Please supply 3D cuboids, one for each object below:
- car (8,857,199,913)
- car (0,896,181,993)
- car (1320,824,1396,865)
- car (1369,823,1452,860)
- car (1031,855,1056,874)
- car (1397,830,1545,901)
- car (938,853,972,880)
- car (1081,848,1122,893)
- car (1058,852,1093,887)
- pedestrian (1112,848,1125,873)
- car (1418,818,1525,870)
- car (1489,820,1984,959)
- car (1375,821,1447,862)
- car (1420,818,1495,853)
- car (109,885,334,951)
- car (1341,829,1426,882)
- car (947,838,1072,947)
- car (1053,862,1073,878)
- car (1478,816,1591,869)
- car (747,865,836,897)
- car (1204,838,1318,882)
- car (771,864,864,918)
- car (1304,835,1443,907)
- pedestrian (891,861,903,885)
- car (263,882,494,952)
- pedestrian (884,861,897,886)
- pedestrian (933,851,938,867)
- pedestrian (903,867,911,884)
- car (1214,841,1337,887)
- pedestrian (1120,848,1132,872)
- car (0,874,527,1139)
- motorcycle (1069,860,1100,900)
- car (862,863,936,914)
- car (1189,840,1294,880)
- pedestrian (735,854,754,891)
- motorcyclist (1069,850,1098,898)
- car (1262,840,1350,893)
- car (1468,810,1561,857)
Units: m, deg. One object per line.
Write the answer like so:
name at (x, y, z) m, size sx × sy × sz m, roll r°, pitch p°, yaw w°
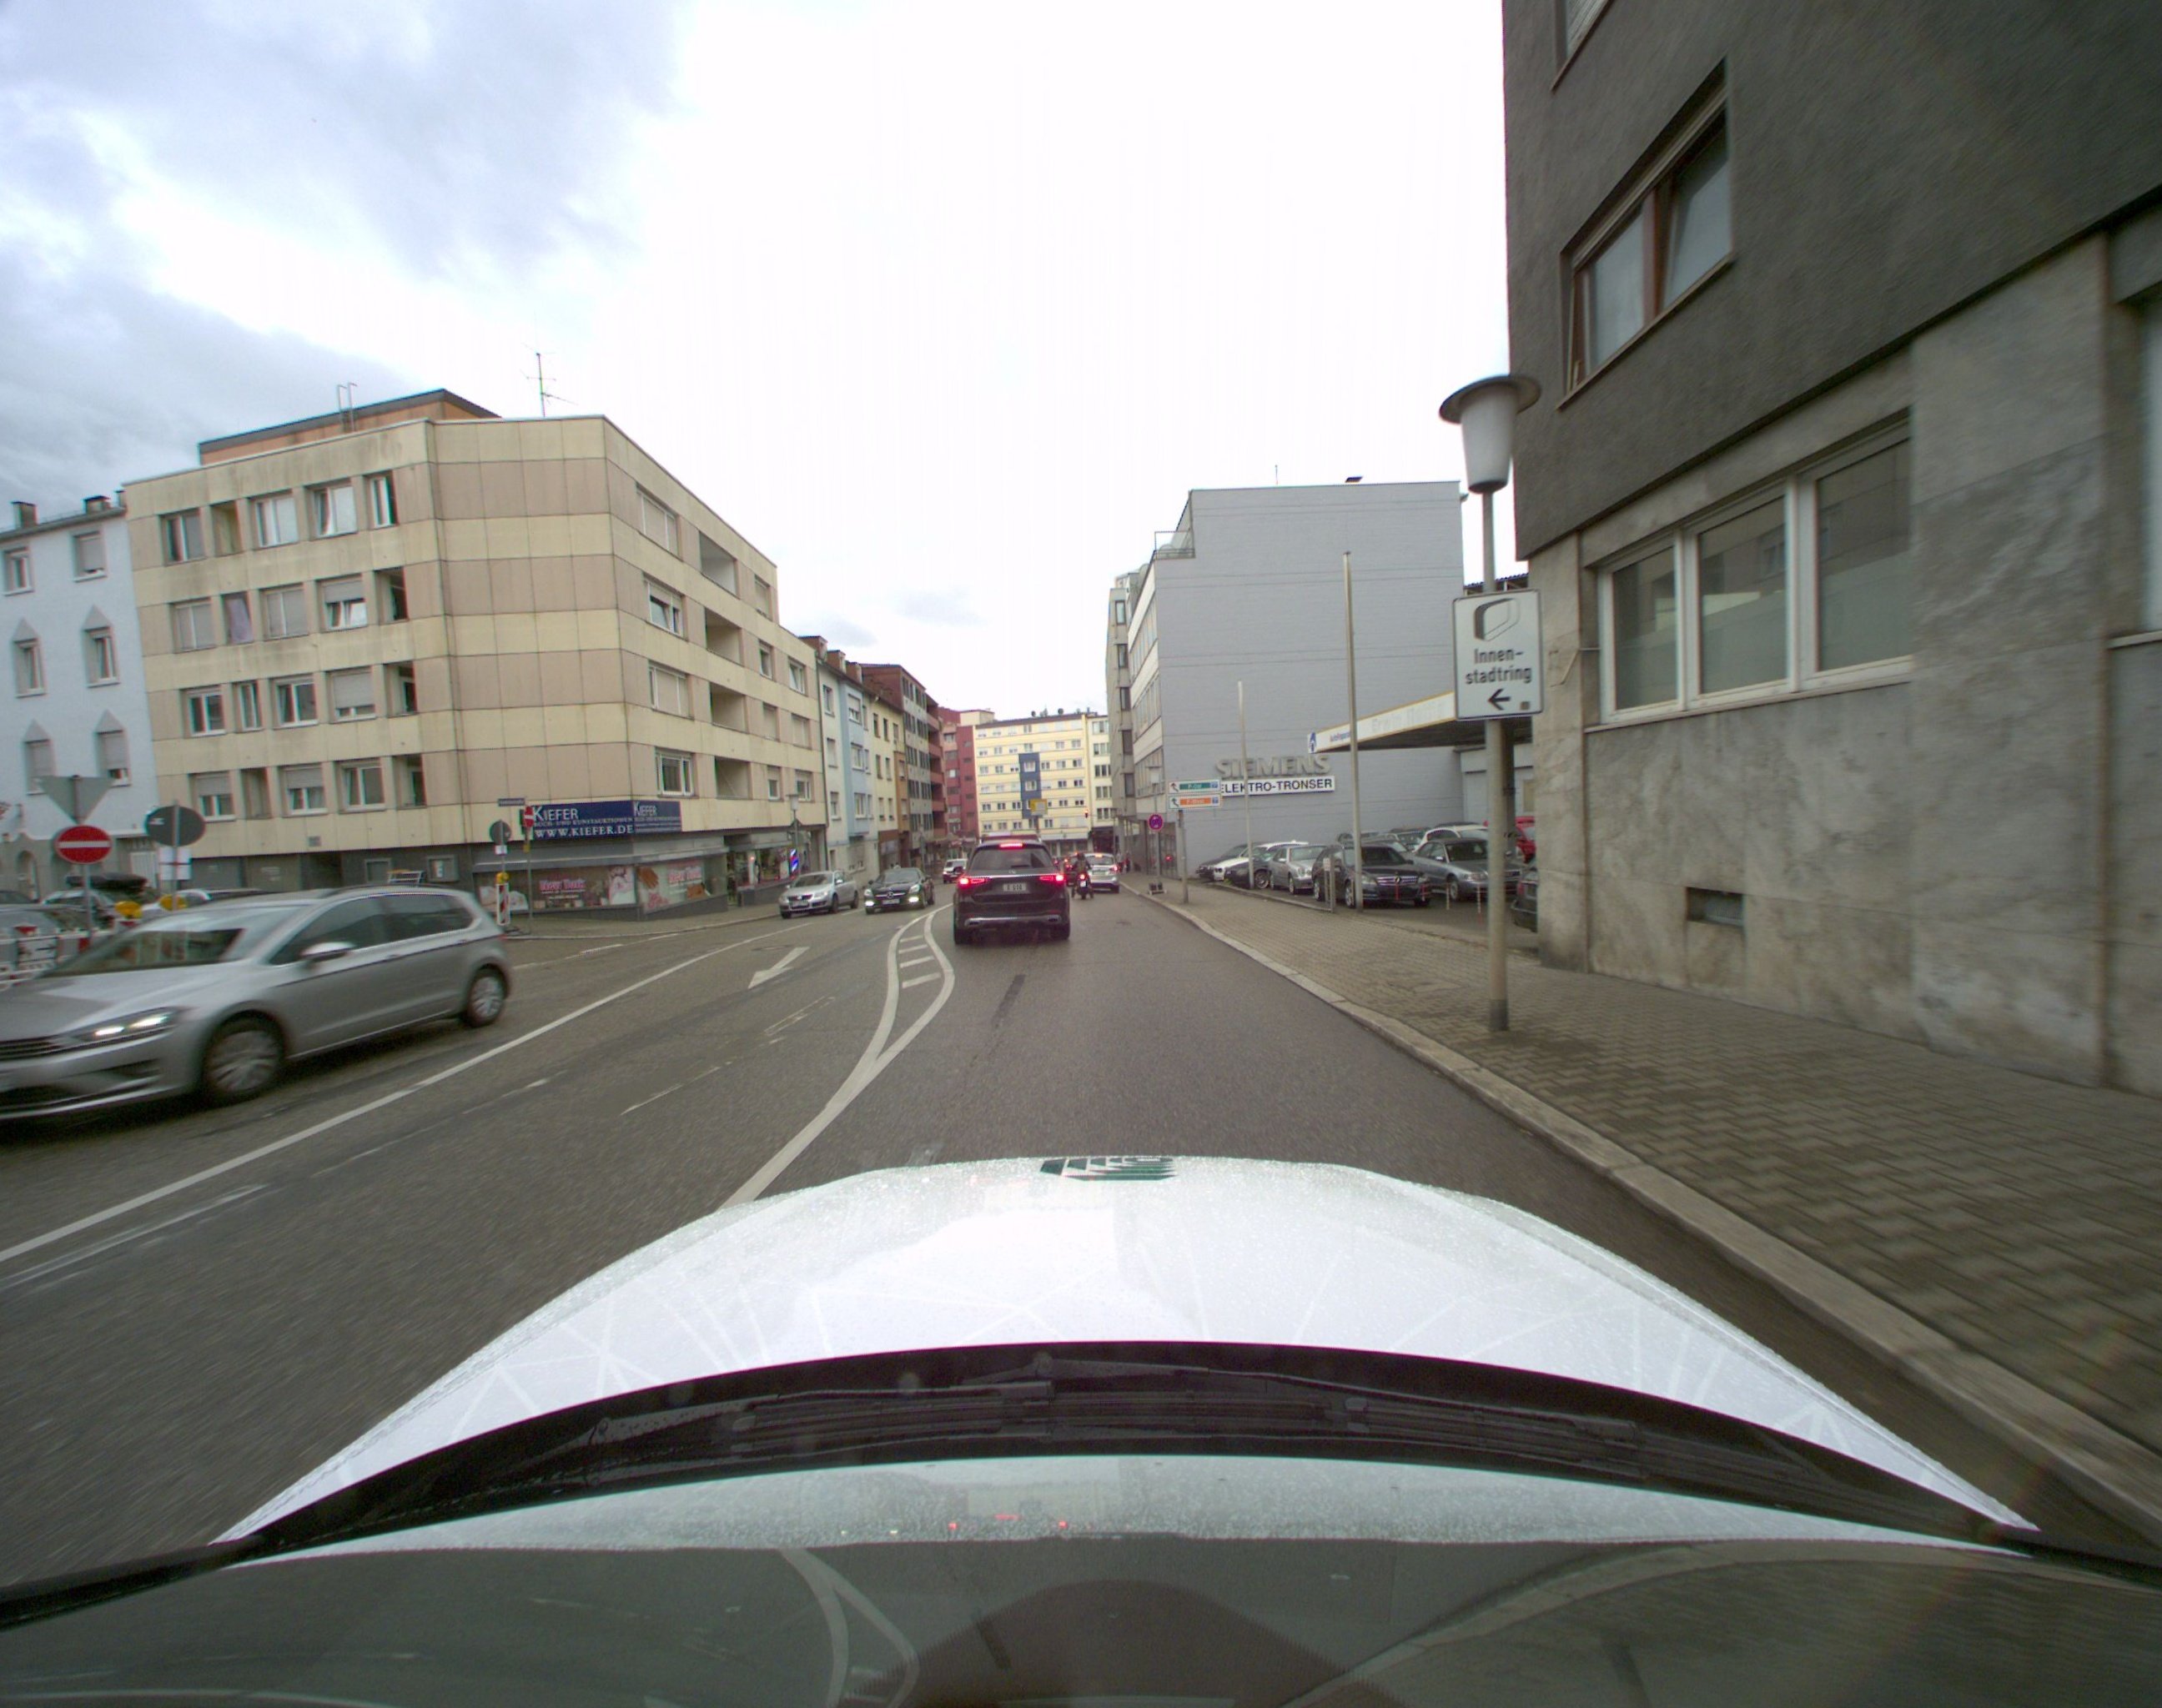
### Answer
car at (-28.628, 0.894, 23.893) m, size 4.301 × 1.512 × 1.906 m, roll -1°, pitch 0°, yaw 15°
car at (-19.805, 1.672, 15.511) m, size 3.959 × 1.511 × 1.735 m, roll -1°, pitch 3°, yaw 13°
car at (11.864, -0.384, 35.166) m, size 1.642 × 1.597 × 3.859 m, roll -1°, pitch -1°, yaw -6°
car at (12.191, -0.421, 30.303) m, size 1.448 × 1.202 × 3.385 m, roll -1°, pitch -1°, yaw -6°
car at (-3.196, 0.910, 70.080) m, size 1.879 × 1.502 × 4.399 m, roll -1°, pitch 0°, yaw 0°
car at (9.393, 0.240, 20.052) m, size 1.788 × 1.477 × 4.491 m, roll -2°, pitch 0°, yaw 5°
car at (-9.503, 0.918, 61.885) m, size 1.865 × 1.753 × 4.396 m, roll -5°, pitch 0°, yaw -2°
car at (0.789, 0.637, 32.926) m, size 1.412 × 1.651 × 3.104 m, roll -2°, pitch 1°, yaw -3°
car at (-0.297, 0.727, 39.507) m, size 1.519 × 1.548 × 3.104 m, roll -2°, pitch 1°, yaw -3°
pedestrian at (2.560, 0.448, 56.051) m, size 0.767 × 1.611 × 0.703 m, roll -2°, pitch 2°, yaw -4°
car at (12.454, -0.275, 26.231) m, size 1.549 × 1.512 × 3.515 m, roll -1°, pitch -1°, yaw -4°
car at (7.672, 0.376, 9.932) m, size 4.470 × 1.512 × 1.889 m, roll 0°, pitch 0°, yaw 3°
car at (14.101, -0.480, 34.957) m, size 1.448 × 1.597 × 3.385 m, roll -1°, pitch -1°, yaw -6°
car at (16.235, -0.757, 35.257) m, size 1.449 × 1.354 × 3.347 m, roll -1°, pitch -1°, yaw -6°
car at (-22.119, 1.624, 21.035) m, size 4.306 × 1.512 × 1.903 m, roll -1°, pitch 0°, yaw 10°
car at (9.504, 0.078, 25.836) m, size 1.521 × 1.512 × 3.393 m, roll -1°, pitch -1°, yaw 2°
car at (-1.268, 0.623, 15.691) m, size 2.016 × 1.739 × 4.742 m, roll -1°, pitch 0°, yaw -3°
car at (-1.817, 1.561, 82.317) m, size 1.879 × 1.502 × 4.399 m, roll -1°, pitch 0°, yaw 0°
car at (14.434, -0.316, 26.142) m, size 1.447 × 1.512 × 3.515 m, roll -1°, pitch -1°, yaw -4°
car at (-15.125, 1.390, 42.647) m, size 3.978 × 1.499 × 1.797 m, roll -2°, pitch -1°, yaw -3°
car at (7.013, 0.251, 31.840) m, size 4.000 × 1.597 × 1.787 m, roll -1°, pitch -1°, yaw -20°
car at (-8.934, 1.202, 28.056) m, size 1.740 × 1.539 × 4.638 m, roll -5°, pitch -1°, yaw -2°
car at (6.822, 0.353, 19.534) m, size 1.790 × 1.477 × 4.486 m, roll -1°, pitch 0°, yaw 1°
pedestrian at (-13.158, 1.335, 58.228) m, size 0.670 × 1.652 × 0.605 m, roll -2°, pitch 4°, yaw -4°
car at (-16.946, 1.499, 19.748) m, size 4.306 × 1.512 × 1.903 m, roll -1°, pitch 0°, yaw 10°
pedestrian at (-13.451, 1.381, 57.432) m, size 0.738 × 1.652 × 0.605 m, roll -2°, pitch 4°, yaw -4°
pedestrian at (-14.452, 0.502, 80.677) m, size 0.316 × 1.474 × 0.339 m, roll -2°, pitch 4°, yaw 4°
pedestrian at (-12.500, 1.531, 58.445) m, size 0.425 × 1.162 × 0.586 m, roll -2°, pitch 4°, yaw -4°
car at (6.975, 0.355, 29.305) m, size 4.000 × 1.494 × 1.721 m, roll -1°, pitch -1°, yaw -20°
pedestrian at (3.164, 0.391, 56.831) m, size 0.716 × 1.611 × 0.610 m, roll -2°, pitch 2°, yaw -4°
car at (-7.084, 1.050, 7.210) m, size 1.712 × 1.586 × 4.135 m, roll -5°, pitch -1°, yaw -5°
motorcycle at (0.096, 0.846, 27.588) m, size 0.865 × 1.186 × 2.559 m, roll -2°, pitch 1°, yaw -3°
car at (-5.668, 1.025, 25.801) m, size 1.712 × 1.317 × 4.135 m, roll -3°, pitch 1°, yaw -6°
car at (6.760, 0.257, 34.418) m, size 4.000 × 1.597 × 1.787 m, roll -1°, pitch -1°, yaw -20°
pedestrian at (-16.401, 0.898, 39.657) m, size 0.598 × 1.729 × 0.571 m, roll -2°, pitch 4°, yaw -4°
motorcyclist at (0.071, 0.689, 27.634) m, size 0.865 × 1.560 × 0.762 m, roll -2°, pitch -1°, yaw -4°
car at (6.849, 0.339, 25.178) m, size 1.561 × 1.477 × 4.068 m, roll -1°, pitch 0°, yaw -1°
car at (16.392, -0.724, 30.942) m, size 1.448 × 1.597 × 3.385 m, roll -1°, pitch -1°, yaw -6°
